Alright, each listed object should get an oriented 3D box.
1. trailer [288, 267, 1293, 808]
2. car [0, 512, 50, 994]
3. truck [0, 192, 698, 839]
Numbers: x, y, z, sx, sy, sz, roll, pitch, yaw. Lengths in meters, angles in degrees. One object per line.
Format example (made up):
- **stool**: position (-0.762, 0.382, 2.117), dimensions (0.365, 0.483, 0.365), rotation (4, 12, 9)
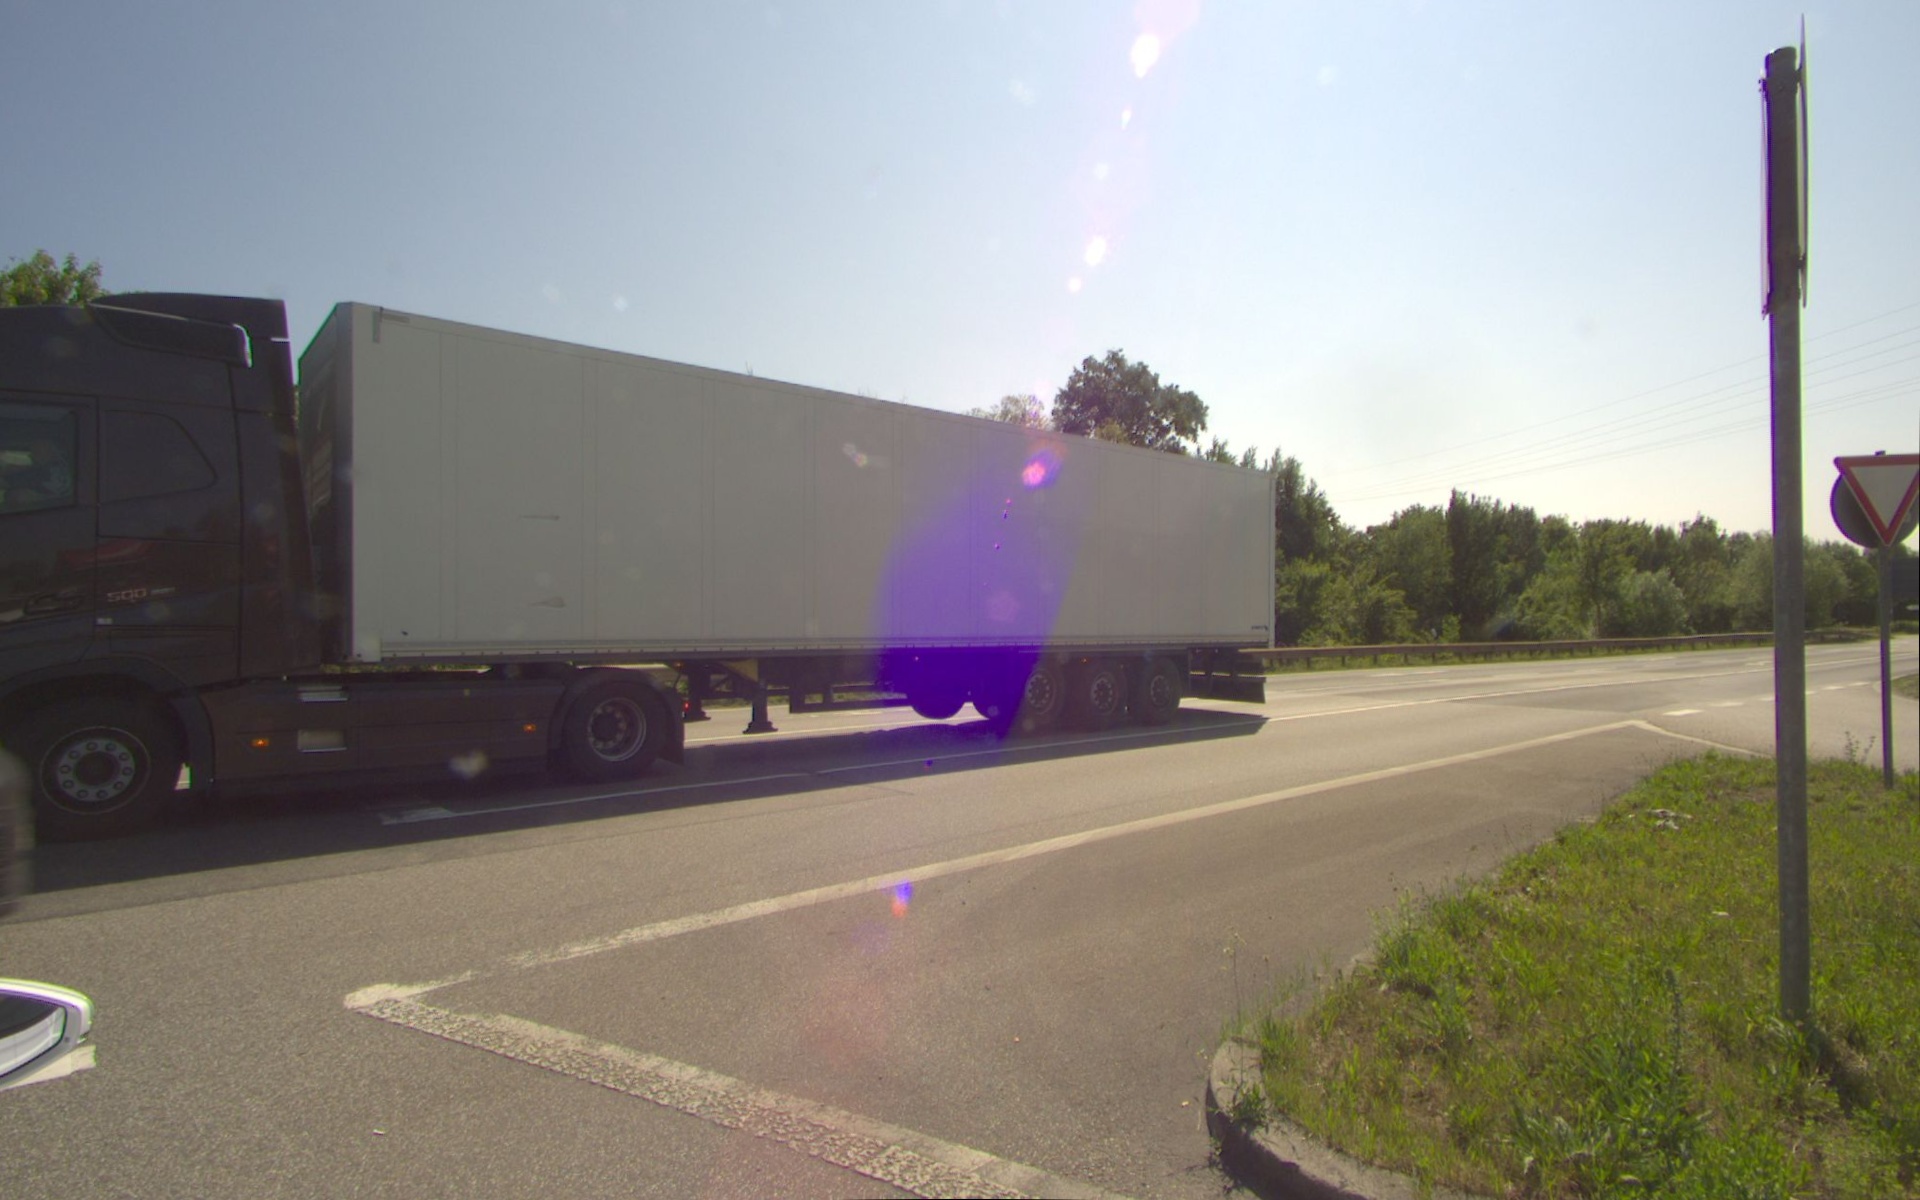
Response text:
- **trailer**: position (-0.560, -0.355, 13.430), dimensions (13.829, 4.219, 2.871), rotation (1, -1, -41)
- **car**: position (-6.202, 0.584, 3.116), dimensions (4.942, 1.904, 1.982), rotation (1, -1, -42)
- **truck**: position (-5.727, -0.491, 8.936), dimensions (5.907, 4.227, 2.854), rotation (1, -1, -41)
